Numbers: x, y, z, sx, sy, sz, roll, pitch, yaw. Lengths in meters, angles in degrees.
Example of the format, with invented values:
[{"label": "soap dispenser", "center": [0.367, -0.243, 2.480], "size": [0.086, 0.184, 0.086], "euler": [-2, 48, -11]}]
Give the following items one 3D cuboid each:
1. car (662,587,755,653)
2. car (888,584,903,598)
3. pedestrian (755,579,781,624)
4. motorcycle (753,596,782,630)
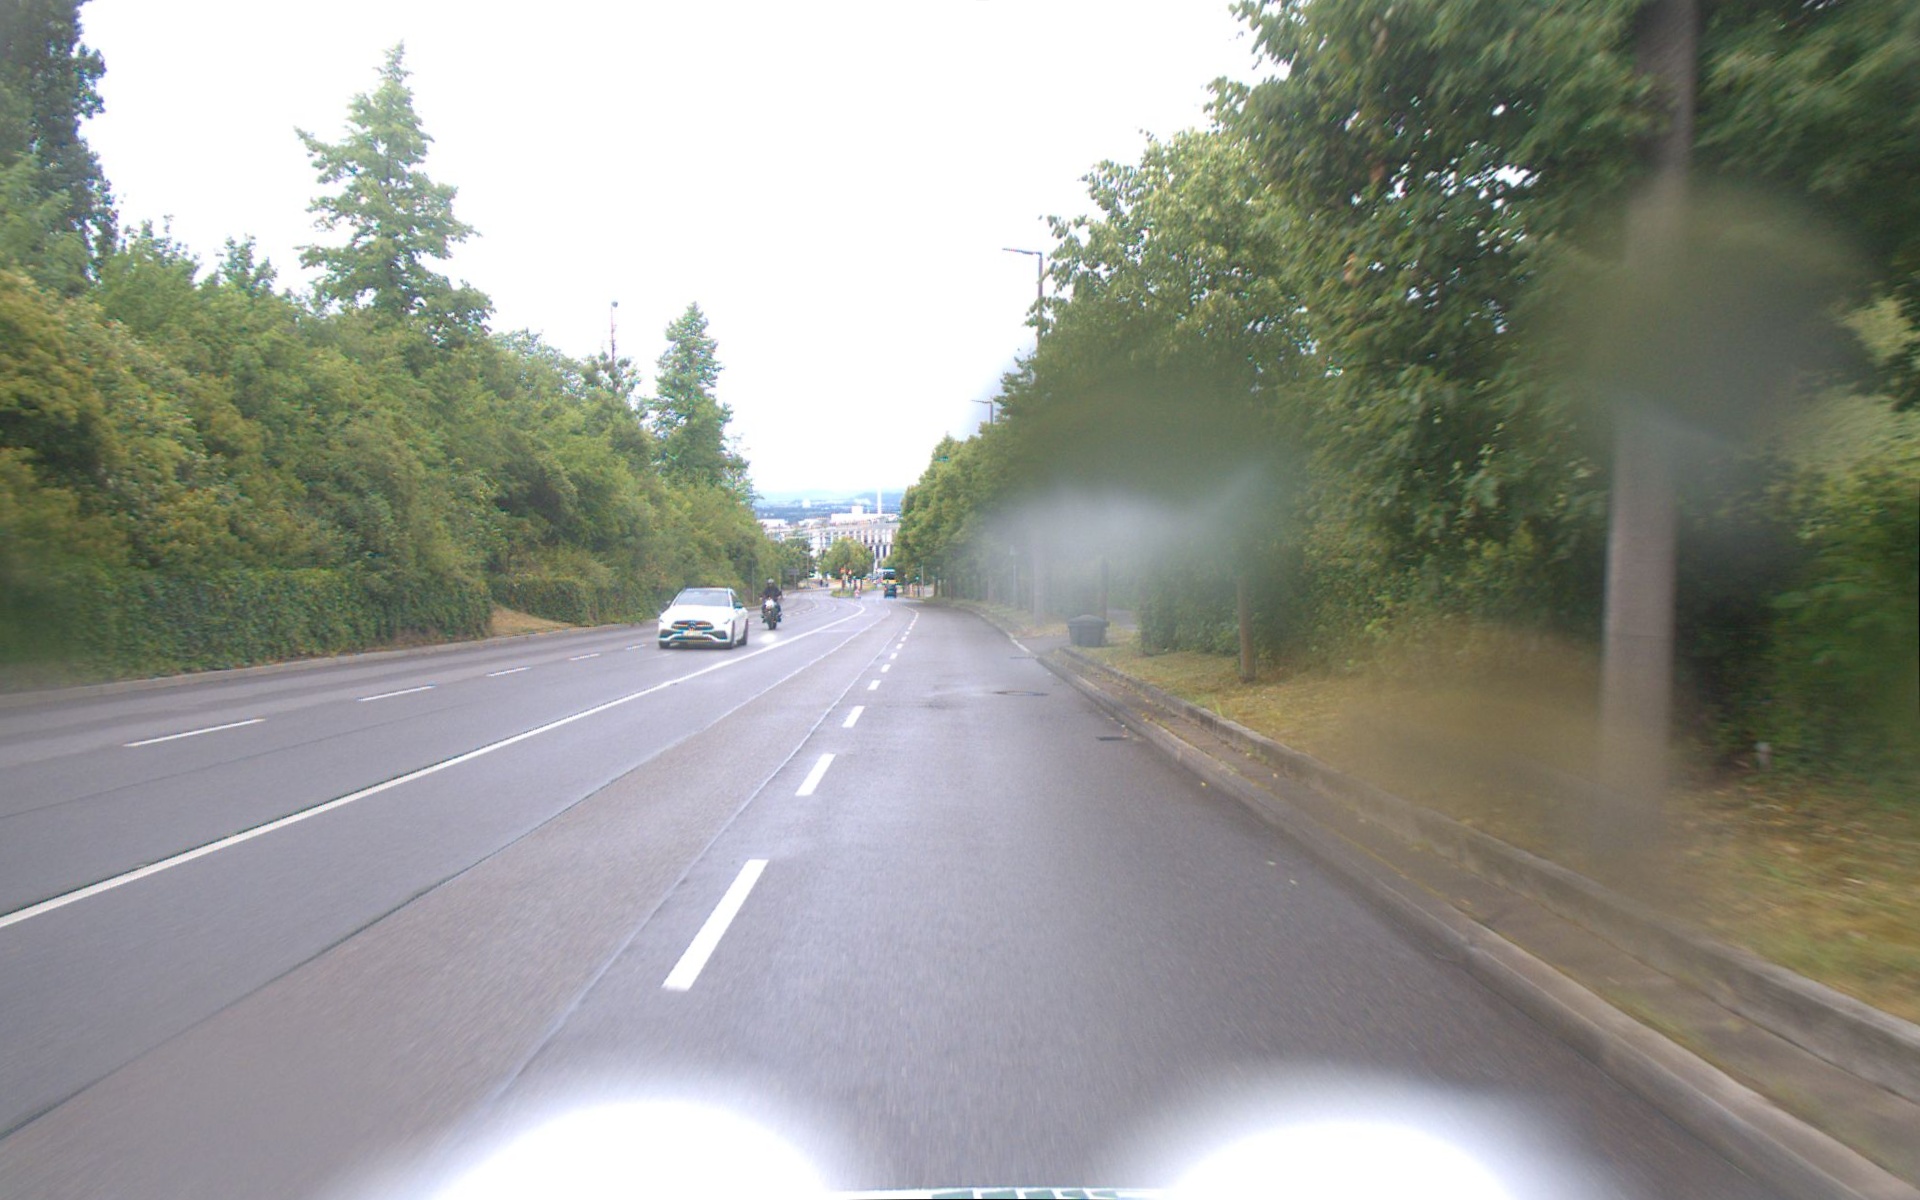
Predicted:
[{"label": "car", "center": [-6.288, 0.459, 41.737], "size": [1.680, 1.531, 4.516], "euler": [1, 0, -1]}, {"label": "car", "center": [-8.504, -1.158, 218.755], "size": [1.812, 1.731, 3.790], "euler": [1, -1, -4]}, {"label": "pedestrian", "center": [-6.733, 0.060, 58.025], "size": [0.789, 1.568, 1.111], "euler": [0, 0, -1]}, {"label": "motorcycle", "center": [-6.734, 0.433, 58.007], "size": [0.789, 1.151, 2.231], "euler": [0, 0, -1]}]
